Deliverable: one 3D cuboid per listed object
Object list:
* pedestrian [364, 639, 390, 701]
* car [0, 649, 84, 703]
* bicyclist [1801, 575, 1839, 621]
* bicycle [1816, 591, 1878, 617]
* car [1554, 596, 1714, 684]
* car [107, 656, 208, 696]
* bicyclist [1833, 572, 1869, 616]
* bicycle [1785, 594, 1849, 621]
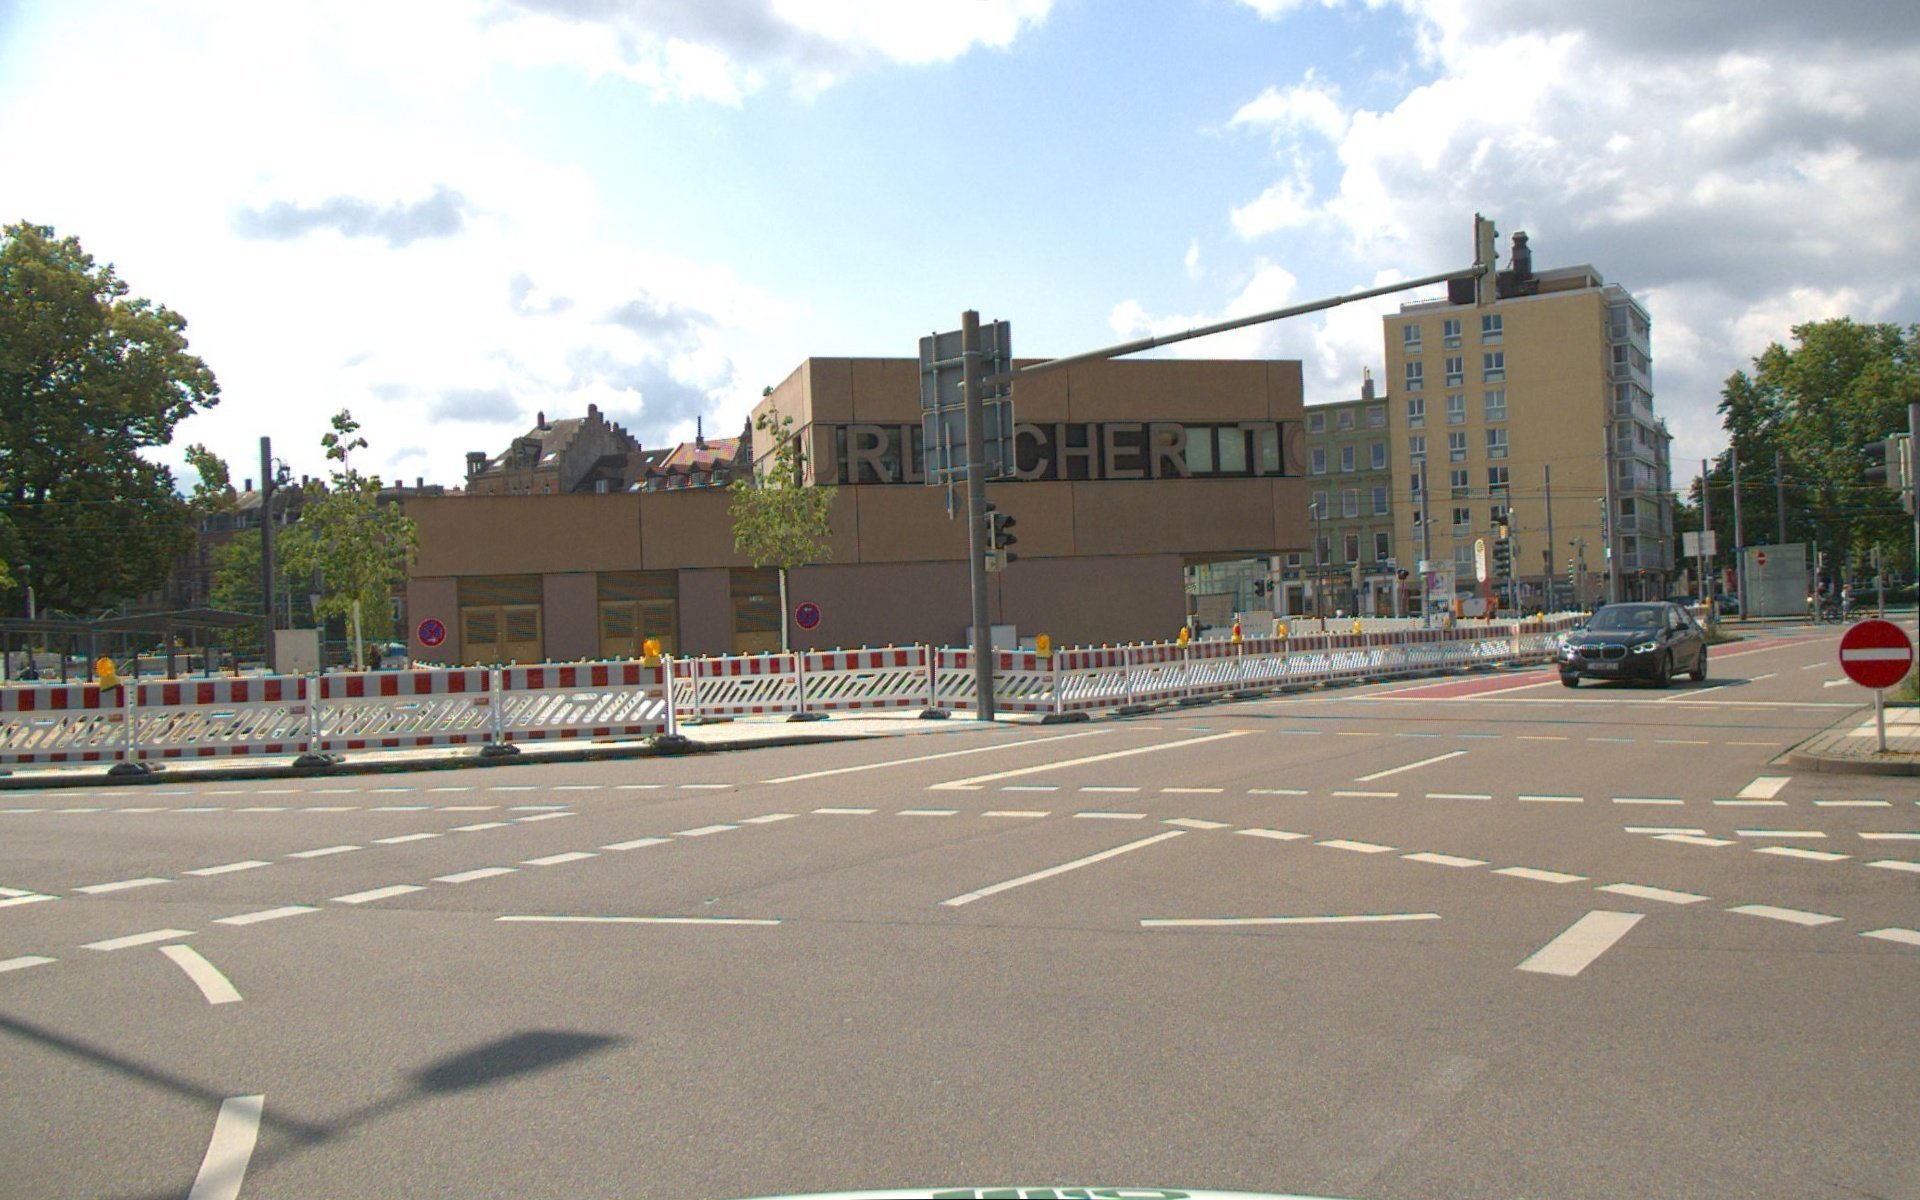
[{"bbox_3d":[-19.482,2.335,55.274,0.689,2.049,0.553,-2,-1,-16],"label":"pedestrian"},{"bbox_3d":[-35.761,2.913,62.745,4.100,1.915,1.794,-2,-1,-17],"label":"car"},{"bbox_3d":[37.570,-0.096,72.236,1.202,1.943,0.853,-3,-1,43],"label":"bicyclist"},{"bbox_3d":[40.651,0.169,75.803,2.345,1.085,0.837,-3,-1,43],"label":"bicycle"},{"bbox_3d":[12.146,0.677,29.647,1.761,1.412,4.213,-3,-1,35],"label":"car"},{"bbox_3d":[-41.642,3.929,85.903,4.275,1.824,1.780,-2,-1,-8],"label":"car"},{"bbox_3d":[40.757,-0.261,75.692,1.202,1.943,0.829,-3,-1,43],"label":"bicyclist"},{"bbox_3d":[37.476,0.339,72.347,2.345,1.085,0.853,-3,-1,43],"label":"bicycle"}]
